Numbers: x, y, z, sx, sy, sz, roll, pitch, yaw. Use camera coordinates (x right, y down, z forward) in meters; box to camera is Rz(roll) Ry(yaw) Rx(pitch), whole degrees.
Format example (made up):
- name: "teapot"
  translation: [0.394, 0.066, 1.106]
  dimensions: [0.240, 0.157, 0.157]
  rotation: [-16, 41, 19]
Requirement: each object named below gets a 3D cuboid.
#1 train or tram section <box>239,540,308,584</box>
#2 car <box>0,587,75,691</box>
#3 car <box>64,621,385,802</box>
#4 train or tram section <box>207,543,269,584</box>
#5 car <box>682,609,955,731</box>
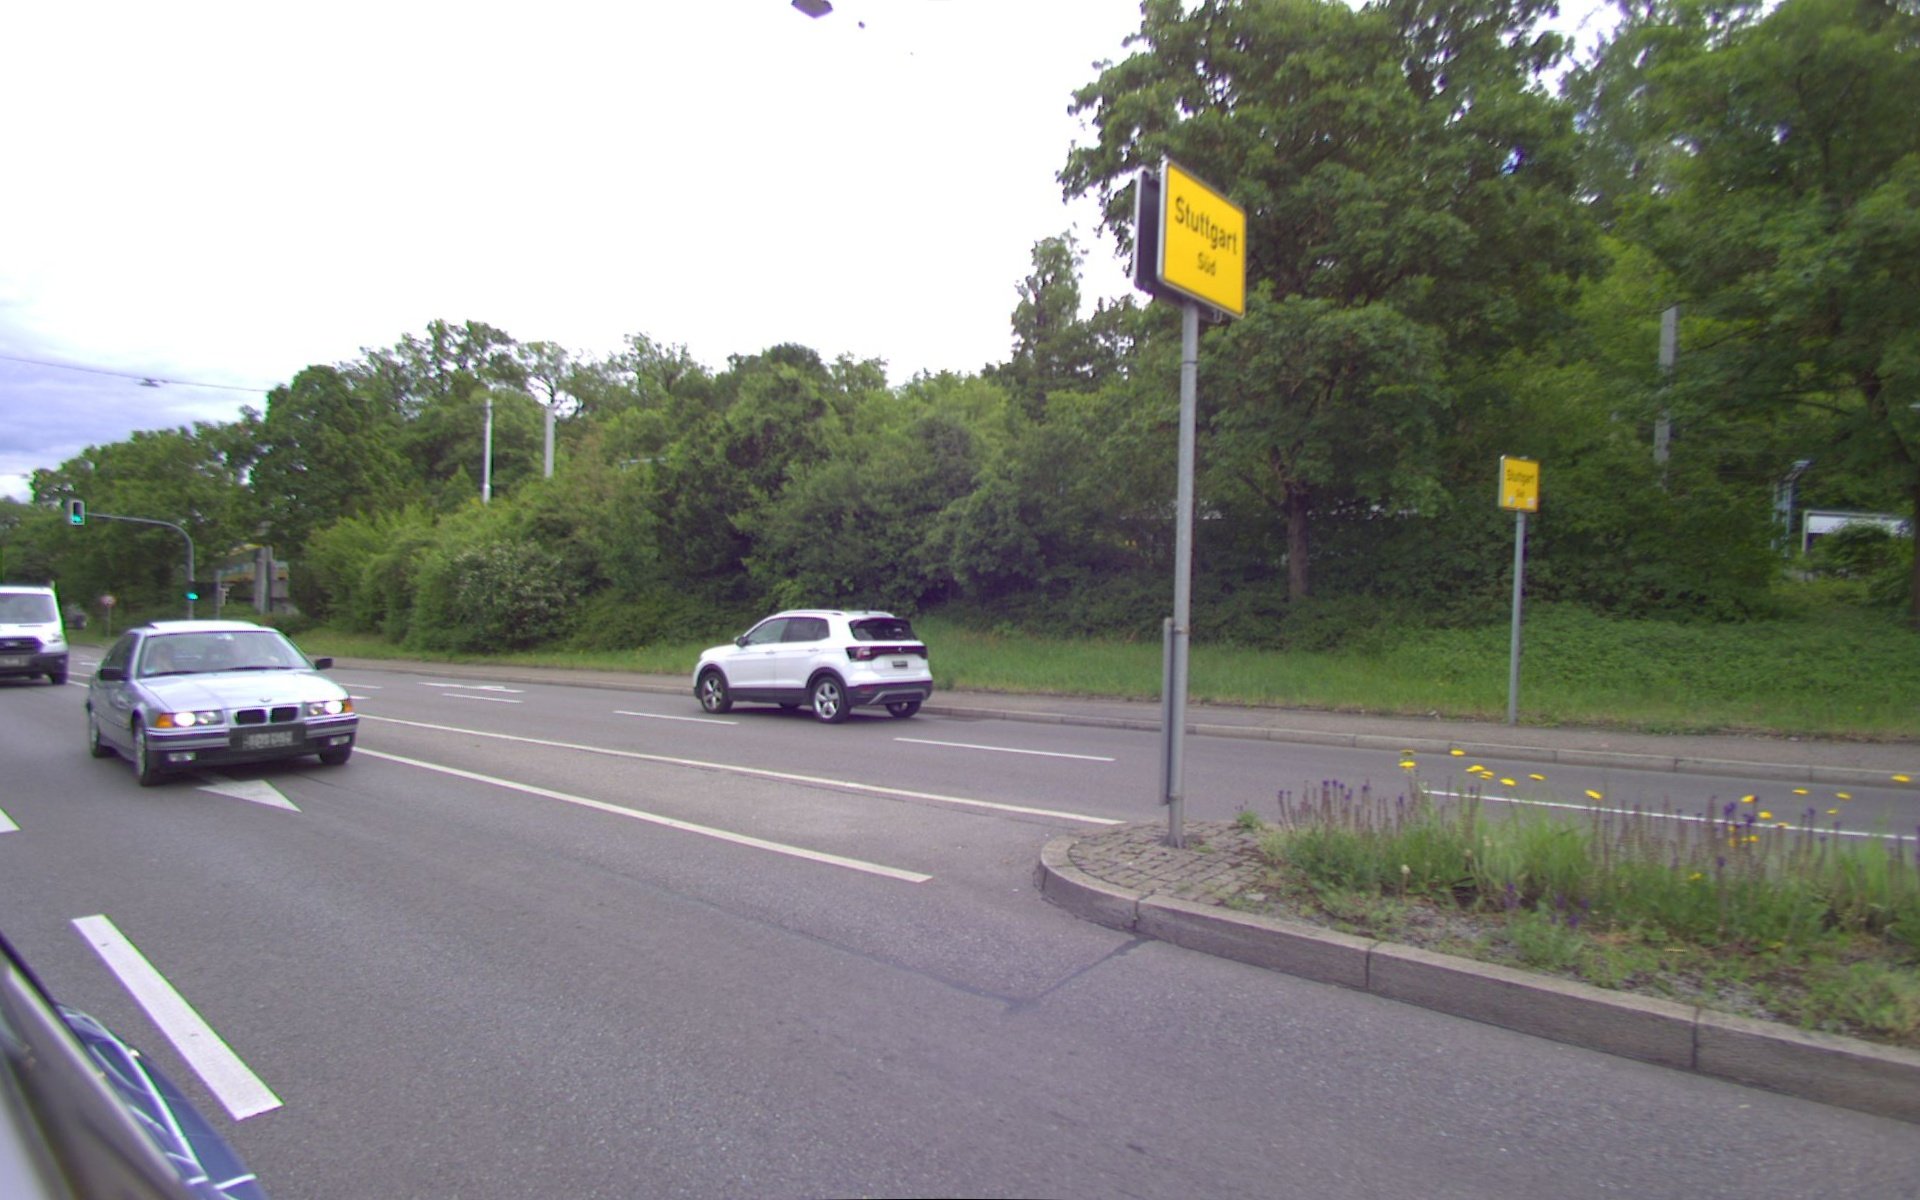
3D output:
- name: "train or tram section"
  translation: [-51.457, -2.795, 75.797]
  dimensions: [8.144, 3.066, 2.037]
  rotation: [0, 1, 39]
- name: "car"
  translation: [-22.222, 0.849, 22.951]
  dimensions: [6.663, 2.142, 2.225]
  rotation: [-1, -1, 40]
- name: "car"
  translation: [-7.479, 0.917, 10.087]
  dimensions: [4.615, 1.404, 1.733]
  rotation: [-1, -2, 43]
- name: "train or tram section"
  translation: [-57.796, -2.866, 80.960]
  dimensions: [8.145, 3.066, 2.037]
  rotation: [0, 1, 40]
- name: "car"
  translation: [-2.190, 0.949, 15.100]
  dimensions: [4.038, 1.552, 1.712]
  rotation: [-1, 0, 38]
